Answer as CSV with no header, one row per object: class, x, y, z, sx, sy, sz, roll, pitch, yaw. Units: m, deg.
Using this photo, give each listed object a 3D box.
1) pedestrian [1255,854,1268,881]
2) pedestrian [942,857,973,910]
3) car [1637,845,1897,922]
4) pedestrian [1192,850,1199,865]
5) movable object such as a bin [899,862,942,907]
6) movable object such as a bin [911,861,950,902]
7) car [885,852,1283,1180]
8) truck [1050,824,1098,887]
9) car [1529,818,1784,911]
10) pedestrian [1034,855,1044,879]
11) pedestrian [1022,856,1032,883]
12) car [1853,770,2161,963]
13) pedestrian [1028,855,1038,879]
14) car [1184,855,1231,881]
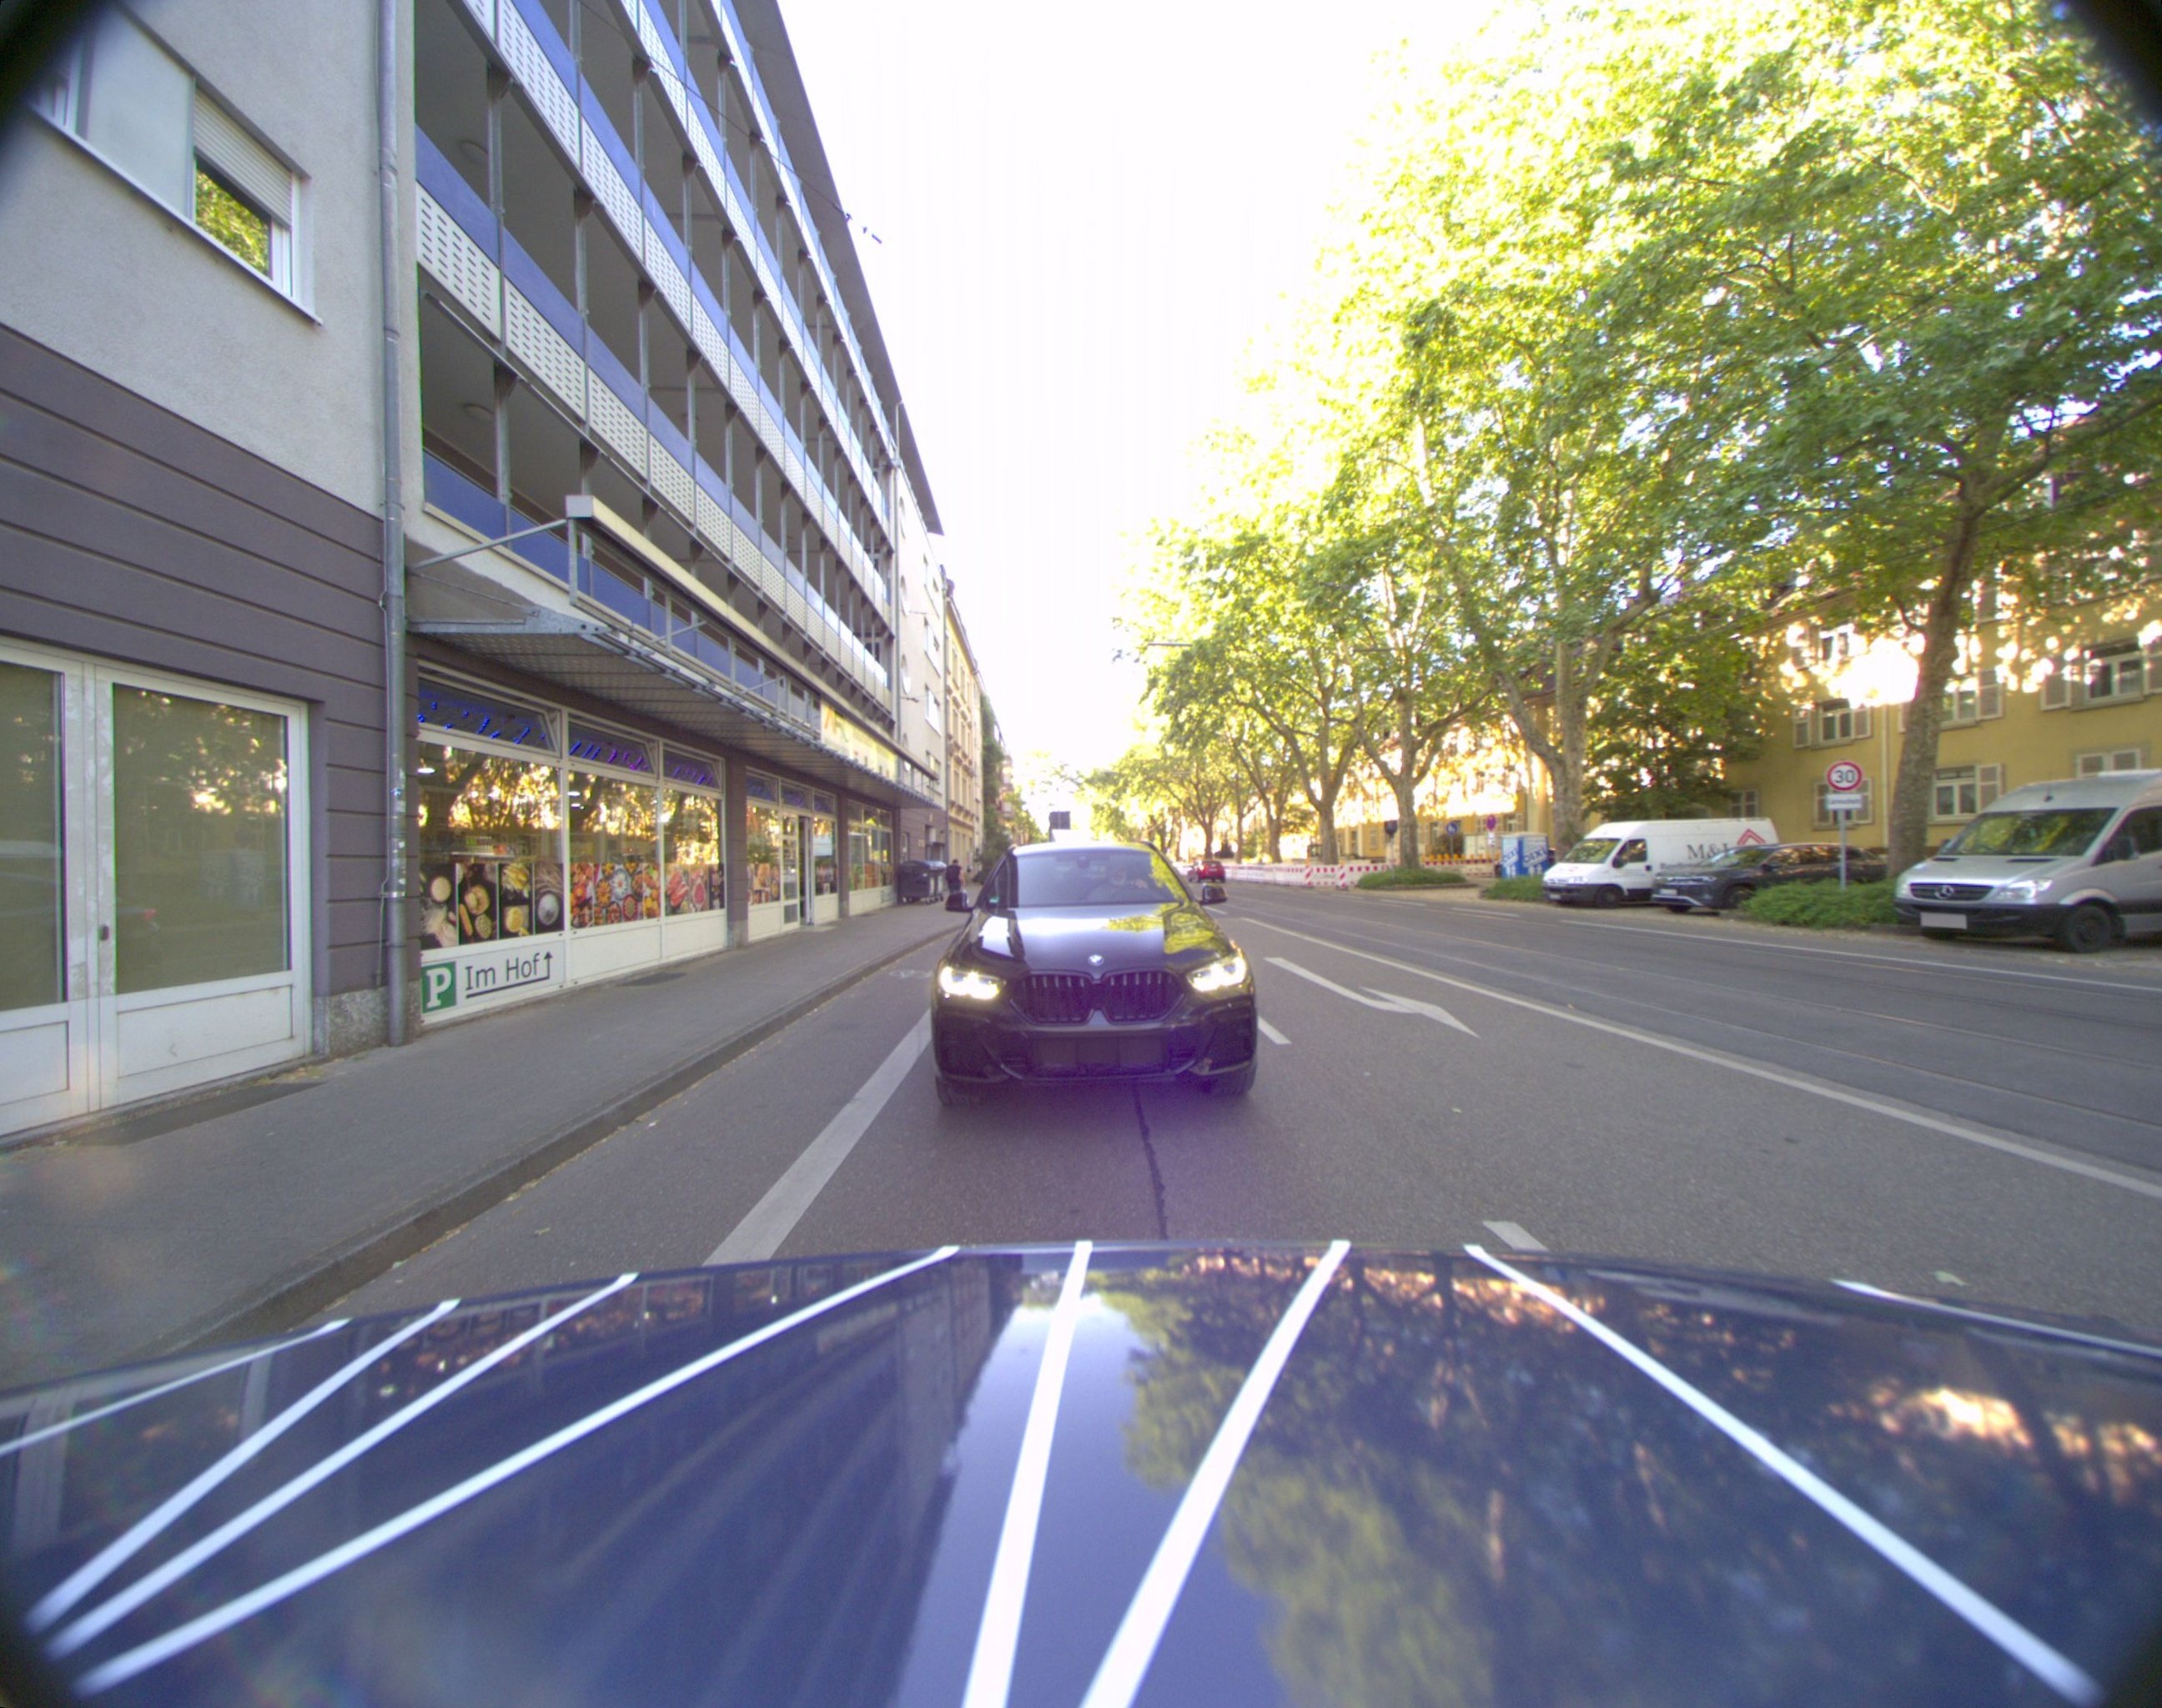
pedestrian,11.612,0.856,48.825,0.651,1.735,0.583,-2,1,2
pedestrian,-3.754,0.883,23.107,0.864,1.582,0.622,-1,0,-5
car,16.079,0.658,17.948,4.627,1.642,1.774,-1,0,-2
pedestrian,14.639,0.489,97.330,0.731,1.875,0.666,-2,1,23
movable object such as a bin,-5.205,0.982,24.655,1.158,1.418,0.939,-1,0,1
movable object such as a bin,-5.283,0.951,26.693,1.158,1.418,0.939,-1,0,1
car,0.043,0.833,6.009,1.998,1.643,4.295,-1,0,1
truck,-0.316,0.120,42.085,2.394,3.170,6.587,-1,0,1
car,15.845,0.290,21.156,5.404,2.362,2.223,-1,0,0
pedestrian,-3.259,1.016,59.016,0.733,1.875,0.664,-2,1,-1
pedestrian,-3.845,1.096,54.271,0.600,1.875,0.581,-2,1,-1
car,15.985,0.128,11.866,5.666,2.666,2.223,-2,0,-2
pedestrian,-3.770,1.040,59.950,0.733,1.875,0.664,-2,1,-1
car,8.115,0.876,49.056,2.022,1.556,4.490,-1,0,-3
